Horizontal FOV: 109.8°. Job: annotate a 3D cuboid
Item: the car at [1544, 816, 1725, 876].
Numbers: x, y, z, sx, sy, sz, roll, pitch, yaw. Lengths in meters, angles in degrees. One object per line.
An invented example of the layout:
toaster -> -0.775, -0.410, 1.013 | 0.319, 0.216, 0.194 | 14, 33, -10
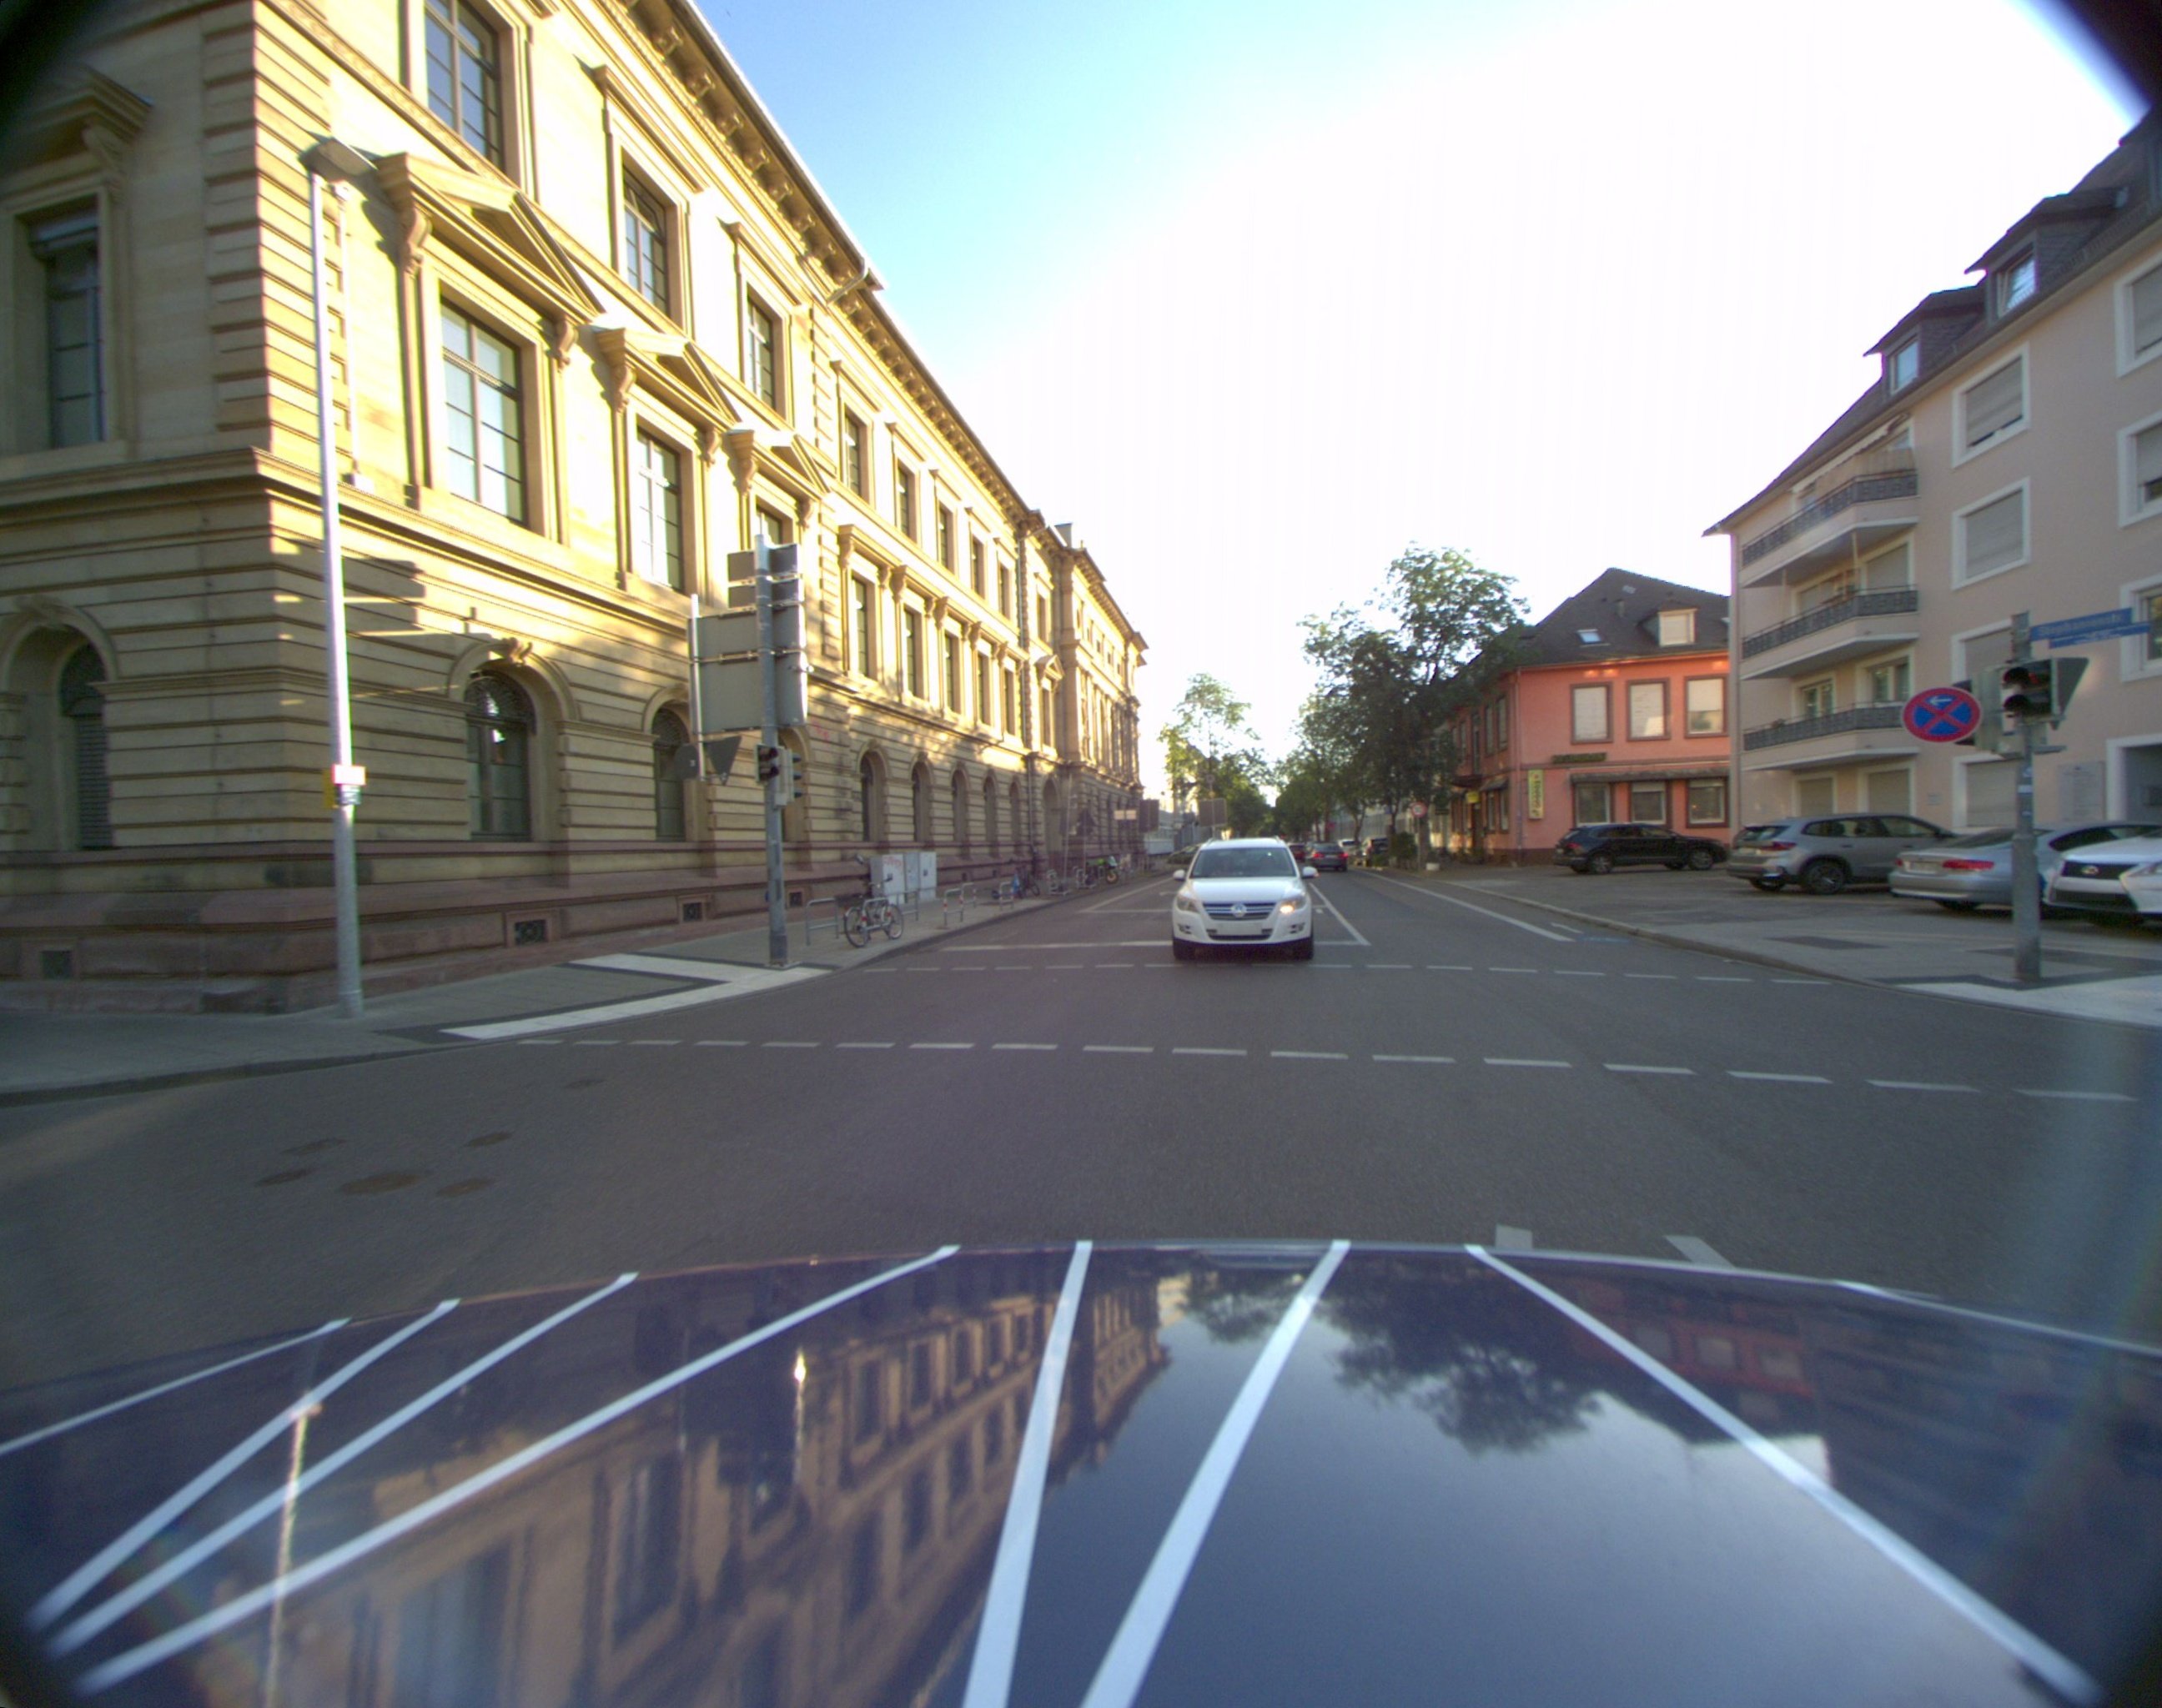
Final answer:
car -> 18.180, -0.250, 25.191 | 4.425, 1.655, 1.865 | -4, 1, 13

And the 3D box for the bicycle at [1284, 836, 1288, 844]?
bicycle -> 31.354, -2.152, 116.156 | 0.626, 1.149, 2.054 | -2, 3, 14

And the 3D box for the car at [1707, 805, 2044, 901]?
car -> 16.047, -0.014, 15.643 | 4.425, 1.596, 1.917 | -4, 1, 13

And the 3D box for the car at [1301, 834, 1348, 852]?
car -> 24.373, -1.071, 76.179 | 4.226, 1.680, 1.802 | -2, 1, 11

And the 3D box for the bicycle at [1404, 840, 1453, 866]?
bicycle -> 15.533, -0.035, 34.011 | 1.870, 1.098, 0.611 | -2, 1, 8

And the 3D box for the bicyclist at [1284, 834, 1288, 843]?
bicyclist -> 31.336, -2.422, 116.109 | 0.626, 1.357, 0.929 | -2, 3, 14

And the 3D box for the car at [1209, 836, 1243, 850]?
car -> 19.666, -1.509, 103.030 | 4.364, 1.768, 1.735 | 0, 2, 12

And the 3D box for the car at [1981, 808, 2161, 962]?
car -> 14.108, 0.219, 8.797 | 4.447, 1.631, 1.943 | -4, 1, 13

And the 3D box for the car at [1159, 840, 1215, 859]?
car -> 8.611, -0.354, 61.506 | 4.364, 1.456, 1.835 | 1, 2, 10

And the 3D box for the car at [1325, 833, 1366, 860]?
car -> 19.200, -0.571, 55.321 | 1.831, 1.658, 4.658 | -6, 1, 8

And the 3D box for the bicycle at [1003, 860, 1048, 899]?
bicycle -> -1.732, 0.773, 23.905 | 0.828, 1.128, 1.946 | 1, 2, 14

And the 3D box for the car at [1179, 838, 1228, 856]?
car -> 11.354, -0.644, 70.200 | 4.363, 1.633, 2.056 | 1, 2, 12

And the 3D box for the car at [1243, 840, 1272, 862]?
car -> 13.035, -0.258, 56.235 | 1.949, 1.547, 4.003 | -2, 1, 12

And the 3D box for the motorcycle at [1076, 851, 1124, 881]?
motorcycle -> 0.804, 0.485, 32.187 | 2.098, 1.208, 0.711 | 2, 3, 44

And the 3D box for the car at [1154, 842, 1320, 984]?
car -> 2.448, 0.696, 11.516 | 1.955, 1.667, 4.546 | -2, 1, 14

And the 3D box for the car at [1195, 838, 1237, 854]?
car -> 14.374, -0.888, 80.715 | 4.364, 1.615, 1.735 | 0, 2, 12

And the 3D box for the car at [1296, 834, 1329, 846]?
car -> 32.702, -1.982, 107.518 | 4.226, 1.655, 1.802 | -2, 1, 11

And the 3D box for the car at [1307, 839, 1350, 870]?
car -> 12.706, 0.007, 39.269 | 1.785, 1.451, 4.427 | -1, 2, 14

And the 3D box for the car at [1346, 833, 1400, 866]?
car -> 17.945, -0.333, 46.945 | 1.831, 1.749, 5.050 | -6, 1, 8

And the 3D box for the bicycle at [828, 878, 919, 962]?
bicycle -> -3.528, 1.091, 13.133 | 0.583, 1.182, 1.921 | -2, 3, 14

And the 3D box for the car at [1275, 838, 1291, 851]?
car -> 23.716, -1.121, 89.299 | 1.660, 1.463, 3.857 | -1, 0, 12

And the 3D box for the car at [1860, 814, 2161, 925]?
car -> 14.812, 0.184, 11.251 | 4.273, 1.372, 1.737 | -4, 1, 13

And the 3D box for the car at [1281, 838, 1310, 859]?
car -> 17.119, -0.456, 60.795 | 1.833, 1.536, 4.851 | -1, 1, 11

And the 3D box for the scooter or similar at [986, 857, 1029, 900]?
scooter or similar -> -2.174, 0.708, 22.535 | 1.130, 1.189, 0.585 | 1, 3, 32
